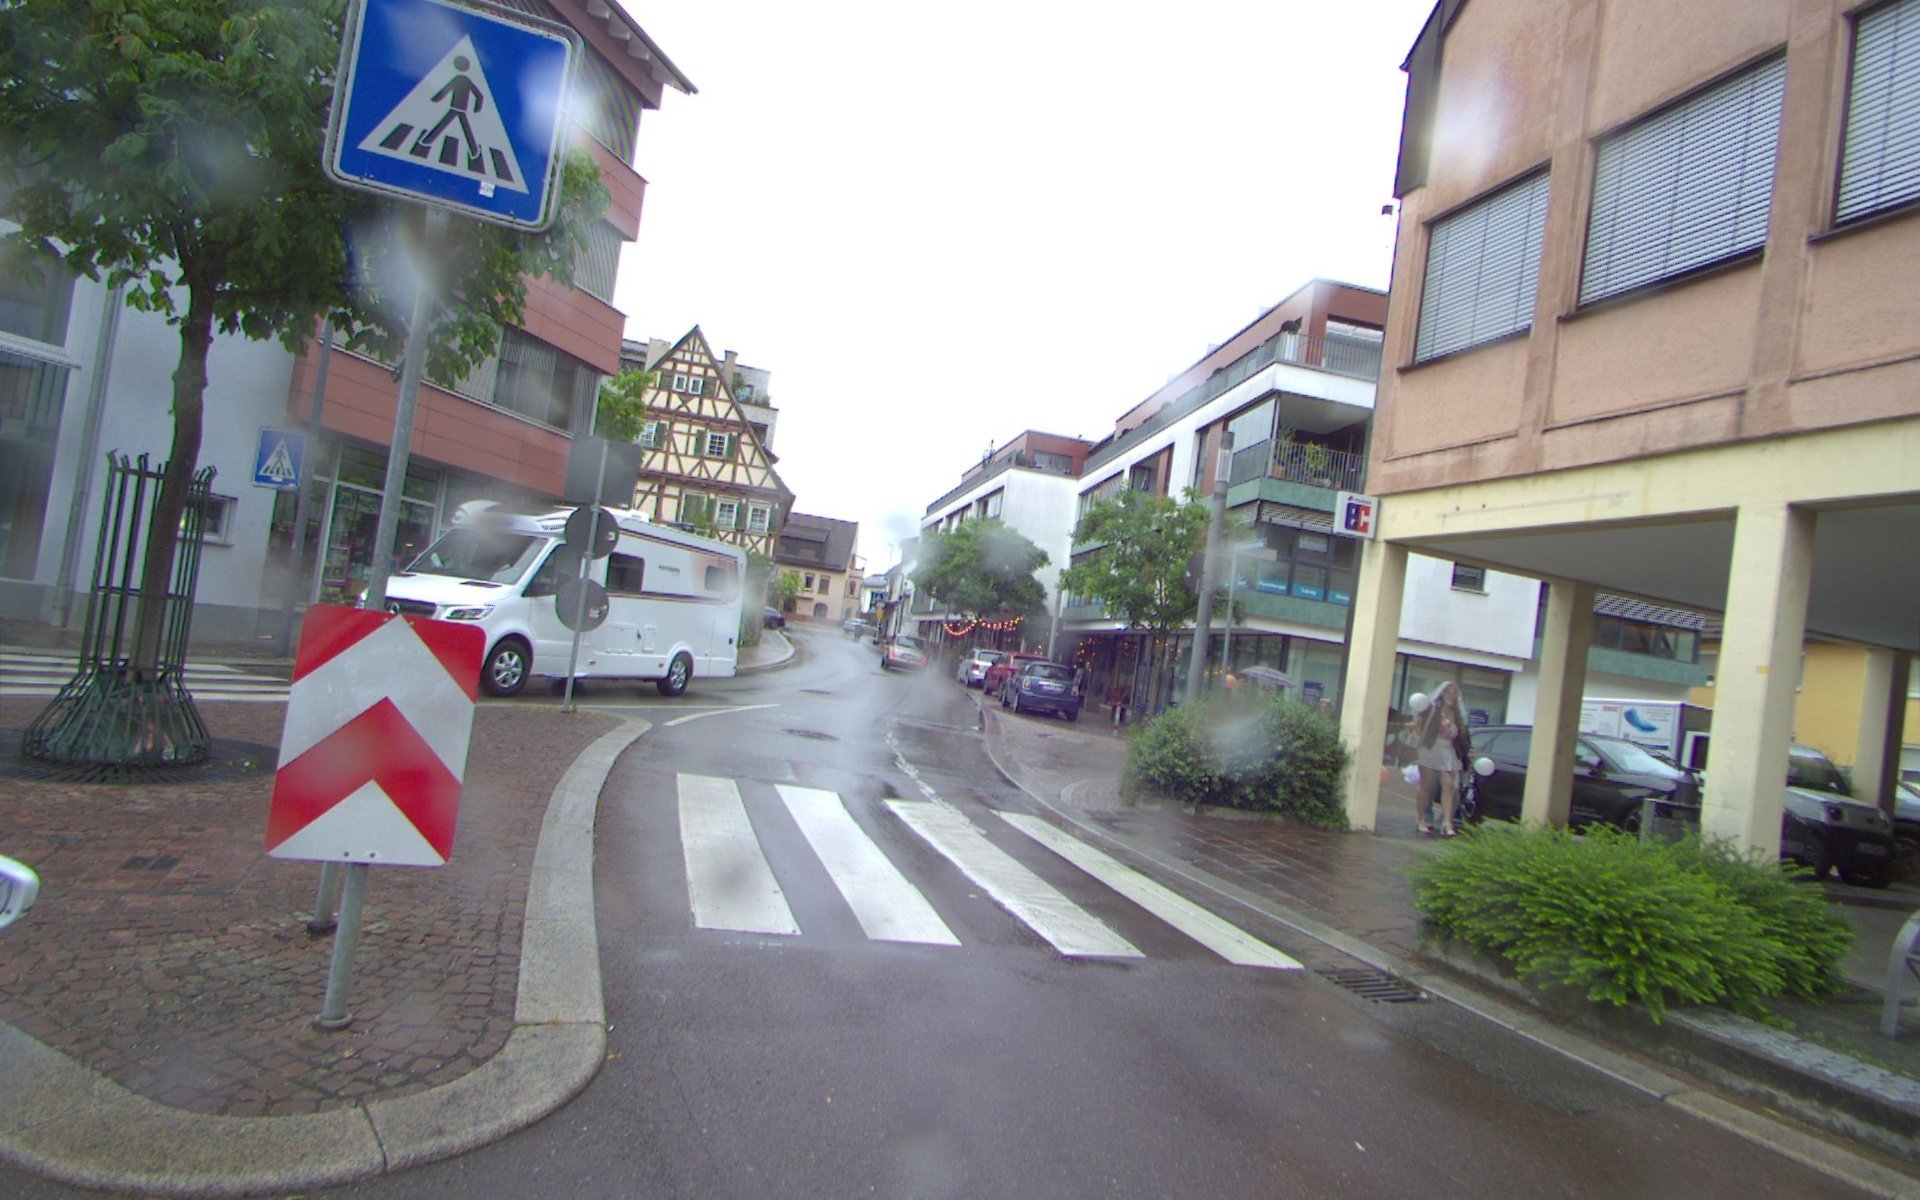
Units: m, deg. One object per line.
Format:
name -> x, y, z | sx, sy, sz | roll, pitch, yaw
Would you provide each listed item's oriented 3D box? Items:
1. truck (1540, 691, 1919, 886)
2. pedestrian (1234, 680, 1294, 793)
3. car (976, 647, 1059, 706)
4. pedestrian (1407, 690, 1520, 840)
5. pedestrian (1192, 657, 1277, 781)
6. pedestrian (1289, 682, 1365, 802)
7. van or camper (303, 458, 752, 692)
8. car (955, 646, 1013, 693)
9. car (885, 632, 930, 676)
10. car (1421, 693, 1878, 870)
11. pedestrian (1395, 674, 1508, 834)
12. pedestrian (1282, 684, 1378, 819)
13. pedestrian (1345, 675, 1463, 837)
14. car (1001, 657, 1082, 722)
truck -> 10.325, 2.408, 13.672 | 1.742, 1.828, 3.989 | 8, -3, -16
pedestrian -> 4.811, 2.153, 15.926 | 0.533, 1.682, 0.520 | 8, -2, -13
car -> 1.799, 2.419, 32.607 | 1.602, 1.518, 3.994 | 6, -2, -11
pedestrian -> 6.238, 2.017, 12.519 | 0.949, 1.657, 0.735 | 7, -2, 15
pedestrian -> 4.258, 1.831, 15.645 | 0.725, 1.768, 0.890 | 8, -2, -16
pedestrian -> 5.698, 2.195, 15.646 | 0.626, 1.708, 0.741 | 8, -2, -15
van or camper -> -5.924, -0.041, 15.339 | 2.399, 2.614, 6.763 | 6, -3, 15
car -> 0.864, 2.592, 38.182 | 1.592, 1.430, 3.998 | 6, -1, -6
car -> -2.186, 2.172, 40.979 | 1.500, 1.487, 3.340 | 8, -2, -6
car -> 8.040, 2.060, 12.354 | 1.742, 1.290, 4.460 | 8, -3, -15
pedestrian -> 5.751, 1.784, 11.791 | 0.715, 1.708, 0.729 | 8, -2, -22
pedestrian -> 4.870, 1.976, 13.285 | 0.732, 1.623, 0.824 | 6, -1, -12
pedestrian -> 5.059, 1.760, 11.501 | 0.689, 1.680, 0.817 | 8, -2, -22
car -> 2.165, 2.391, 27.450 | 1.515, 1.377, 3.374 | 9, -2, -4
